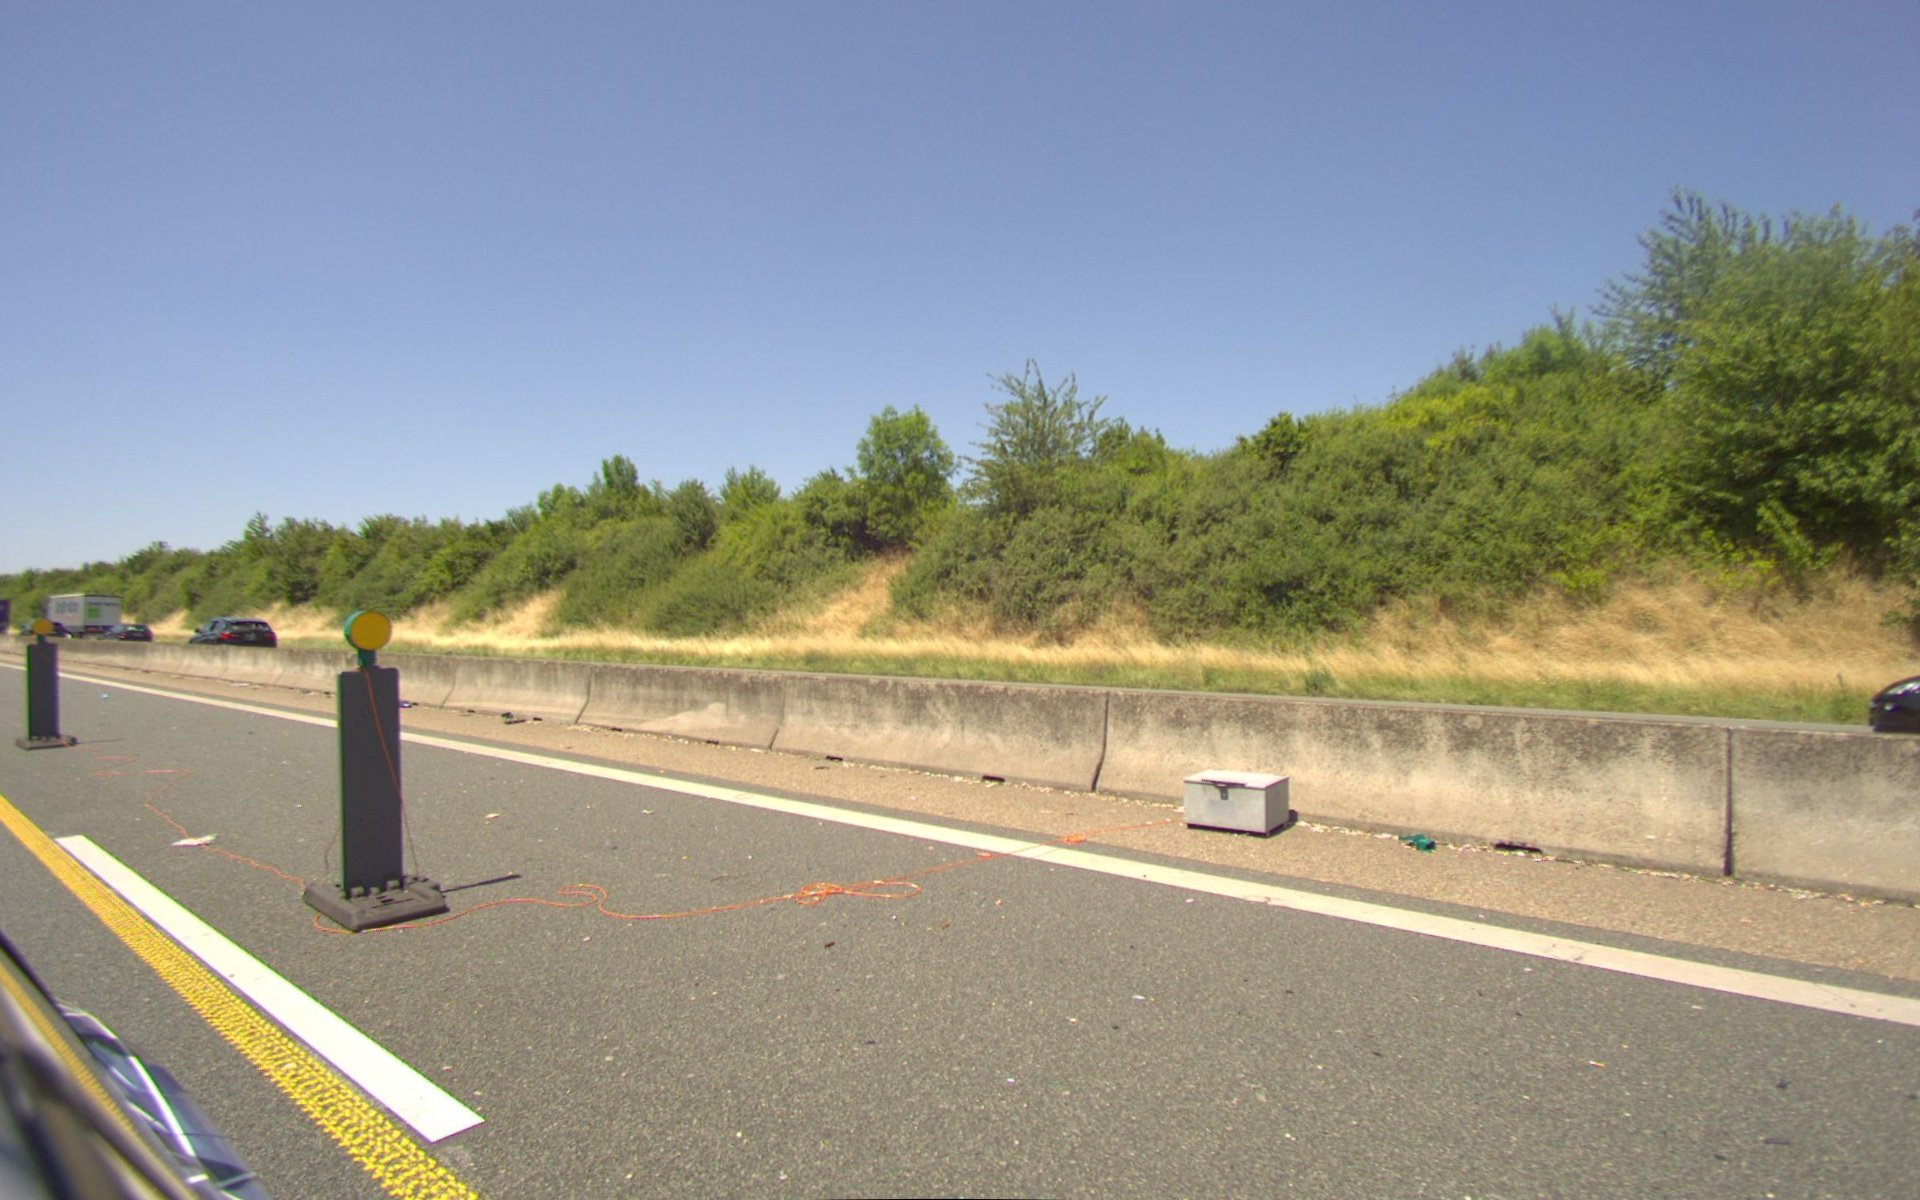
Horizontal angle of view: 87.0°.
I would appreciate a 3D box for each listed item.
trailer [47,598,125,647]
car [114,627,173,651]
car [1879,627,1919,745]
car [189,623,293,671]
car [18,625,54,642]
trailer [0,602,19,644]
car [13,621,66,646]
[{"bbox_3d":[-78.360,2.099,90.642,13.625,4.093,2.923,-1,-4,40],"label":"trailer"},{"bbox_3d":[-51.195,2.418,63.398,4.582,1.472,1.974,-1,-2,39],"label":"car"},{"bbox_3d":[13.731,1.066,12.253,3.776,1.475,1.557,-1,-2,41],"label":"car"},{"bbox_3d":[-25.632,1.624,36.036,4.580,1.612,1.973,-1,-2,41],"label":"car"},{"bbox_3d":[-75.338,2.715,82.531,4.083,1.407,1.489,-1,-2,38],"label":"car"},{"bbox_3d":[-101.268,2.447,105.254,13.670,4.212,3.129,-1,-2,39],"label":"trailer"},{"bbox_3d":[-56.577,2.038,62.185,4.485,1.472,1.830,-1,-2,40],"label":"car"}]
